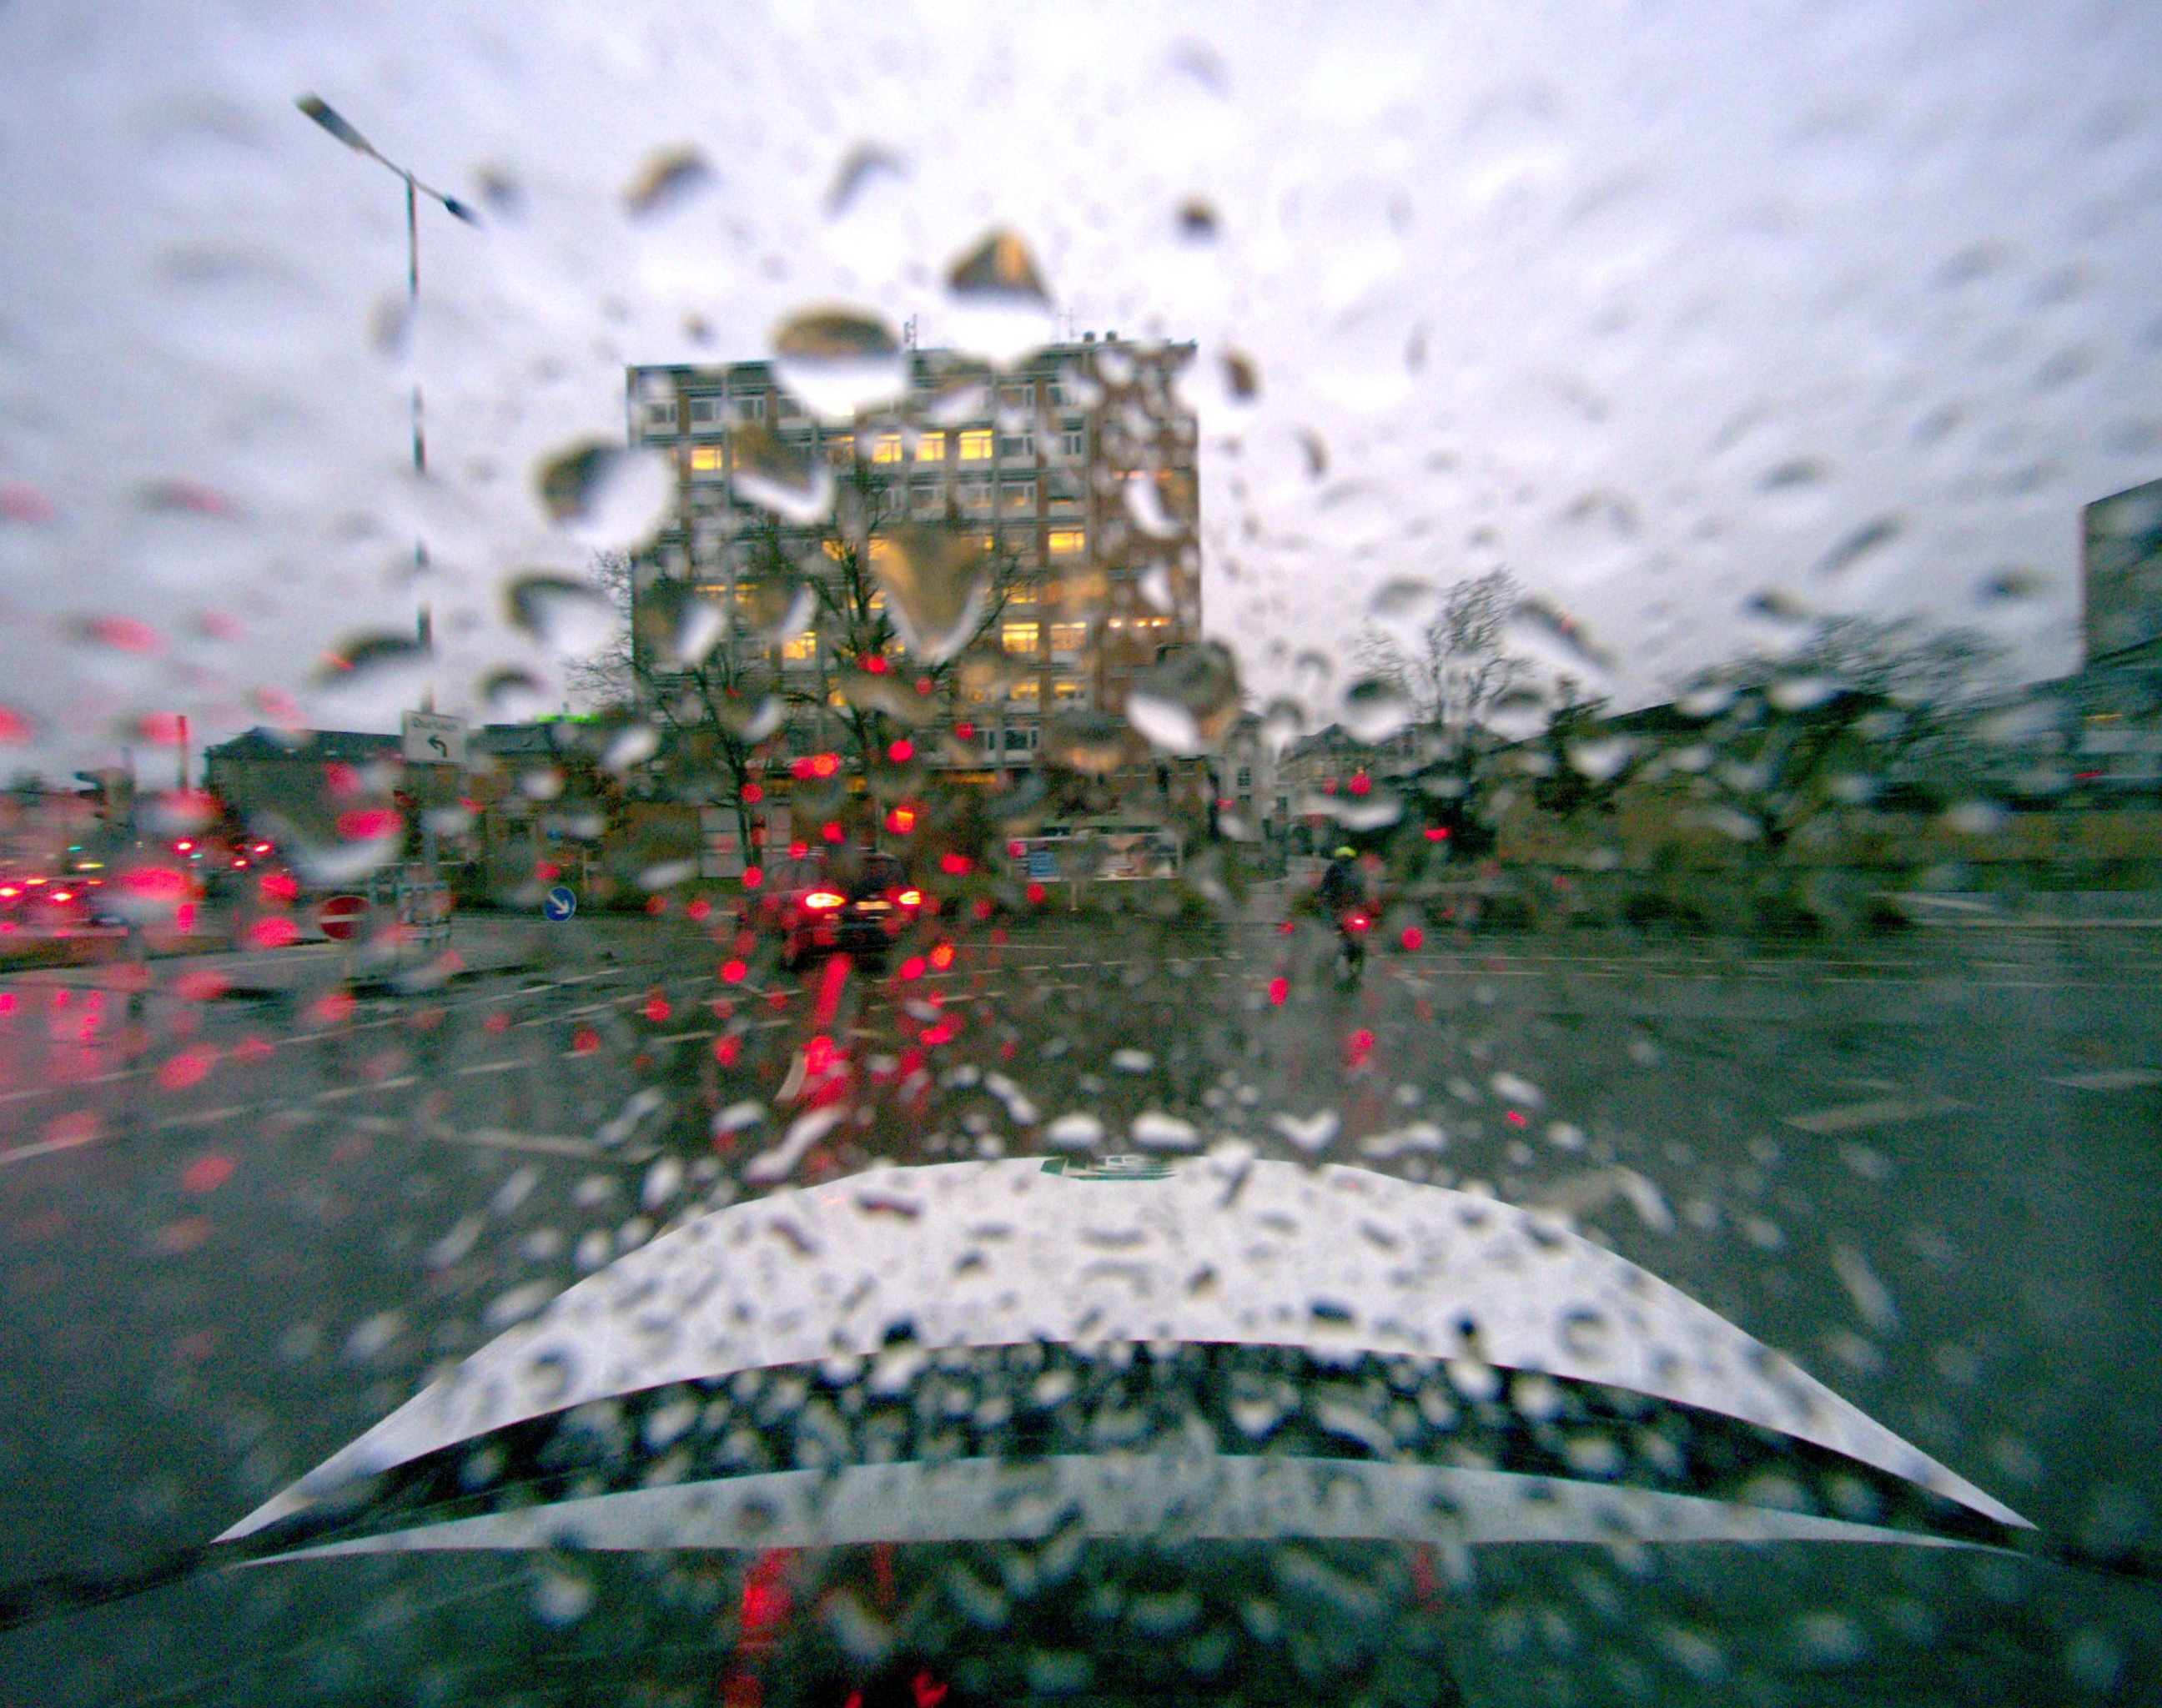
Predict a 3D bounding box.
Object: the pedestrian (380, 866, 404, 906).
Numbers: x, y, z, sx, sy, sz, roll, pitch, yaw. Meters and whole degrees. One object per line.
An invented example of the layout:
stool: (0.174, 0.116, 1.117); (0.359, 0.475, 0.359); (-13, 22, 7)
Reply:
pedestrian: (-34.715, 1.611, 41.032); (0.813, 1.929, 0.752); (0, 1, -34)

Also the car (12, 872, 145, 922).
car: (-32.084, 1.336, 26.063); (3.824, 1.482, 1.716); (0, -2, 25)

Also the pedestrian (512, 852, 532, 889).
pedestrian: (-26.359, 0.777, 38.429); (0.723, 1.687, 0.752); (-2, 1, -35)

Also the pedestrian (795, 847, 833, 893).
pedestrian: (-10.325, 0.618, 31.514); (1.057, 1.687, 0.815); (-1, 2, 25)

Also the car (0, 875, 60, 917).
car: (-38.802, 1.485, 29.343); (4.068, 1.404, 1.674); (-1, -1, 26)

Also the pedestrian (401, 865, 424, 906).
pedestrian: (-34.079, 1.581, 41.537); (0.813, 2.013, 0.752); (0, 1, -34)

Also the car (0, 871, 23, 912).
car: (-44.264, 1.505, 32.503); (4.483, 1.601, 1.802); (-1, -2, 29)

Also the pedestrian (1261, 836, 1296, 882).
pedestrian: (7.556, 0.173, 31.209); (0.928, 1.687, 0.906); (-1, 3, -21)

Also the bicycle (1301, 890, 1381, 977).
bicycle: (3.505, 1.035, 11.140); (0.559, 0.946, 2.098); (-1, 1, 5)

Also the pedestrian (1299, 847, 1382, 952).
pedestrian: (3.454, 0.590, 10.908); (0.870, 1.316, 0.849); (-2, 1, 4)

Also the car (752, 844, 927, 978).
car: (-4.121, 0.768, 13.362); (1.789, 1.800, 4.382); (0, 0, -30)
